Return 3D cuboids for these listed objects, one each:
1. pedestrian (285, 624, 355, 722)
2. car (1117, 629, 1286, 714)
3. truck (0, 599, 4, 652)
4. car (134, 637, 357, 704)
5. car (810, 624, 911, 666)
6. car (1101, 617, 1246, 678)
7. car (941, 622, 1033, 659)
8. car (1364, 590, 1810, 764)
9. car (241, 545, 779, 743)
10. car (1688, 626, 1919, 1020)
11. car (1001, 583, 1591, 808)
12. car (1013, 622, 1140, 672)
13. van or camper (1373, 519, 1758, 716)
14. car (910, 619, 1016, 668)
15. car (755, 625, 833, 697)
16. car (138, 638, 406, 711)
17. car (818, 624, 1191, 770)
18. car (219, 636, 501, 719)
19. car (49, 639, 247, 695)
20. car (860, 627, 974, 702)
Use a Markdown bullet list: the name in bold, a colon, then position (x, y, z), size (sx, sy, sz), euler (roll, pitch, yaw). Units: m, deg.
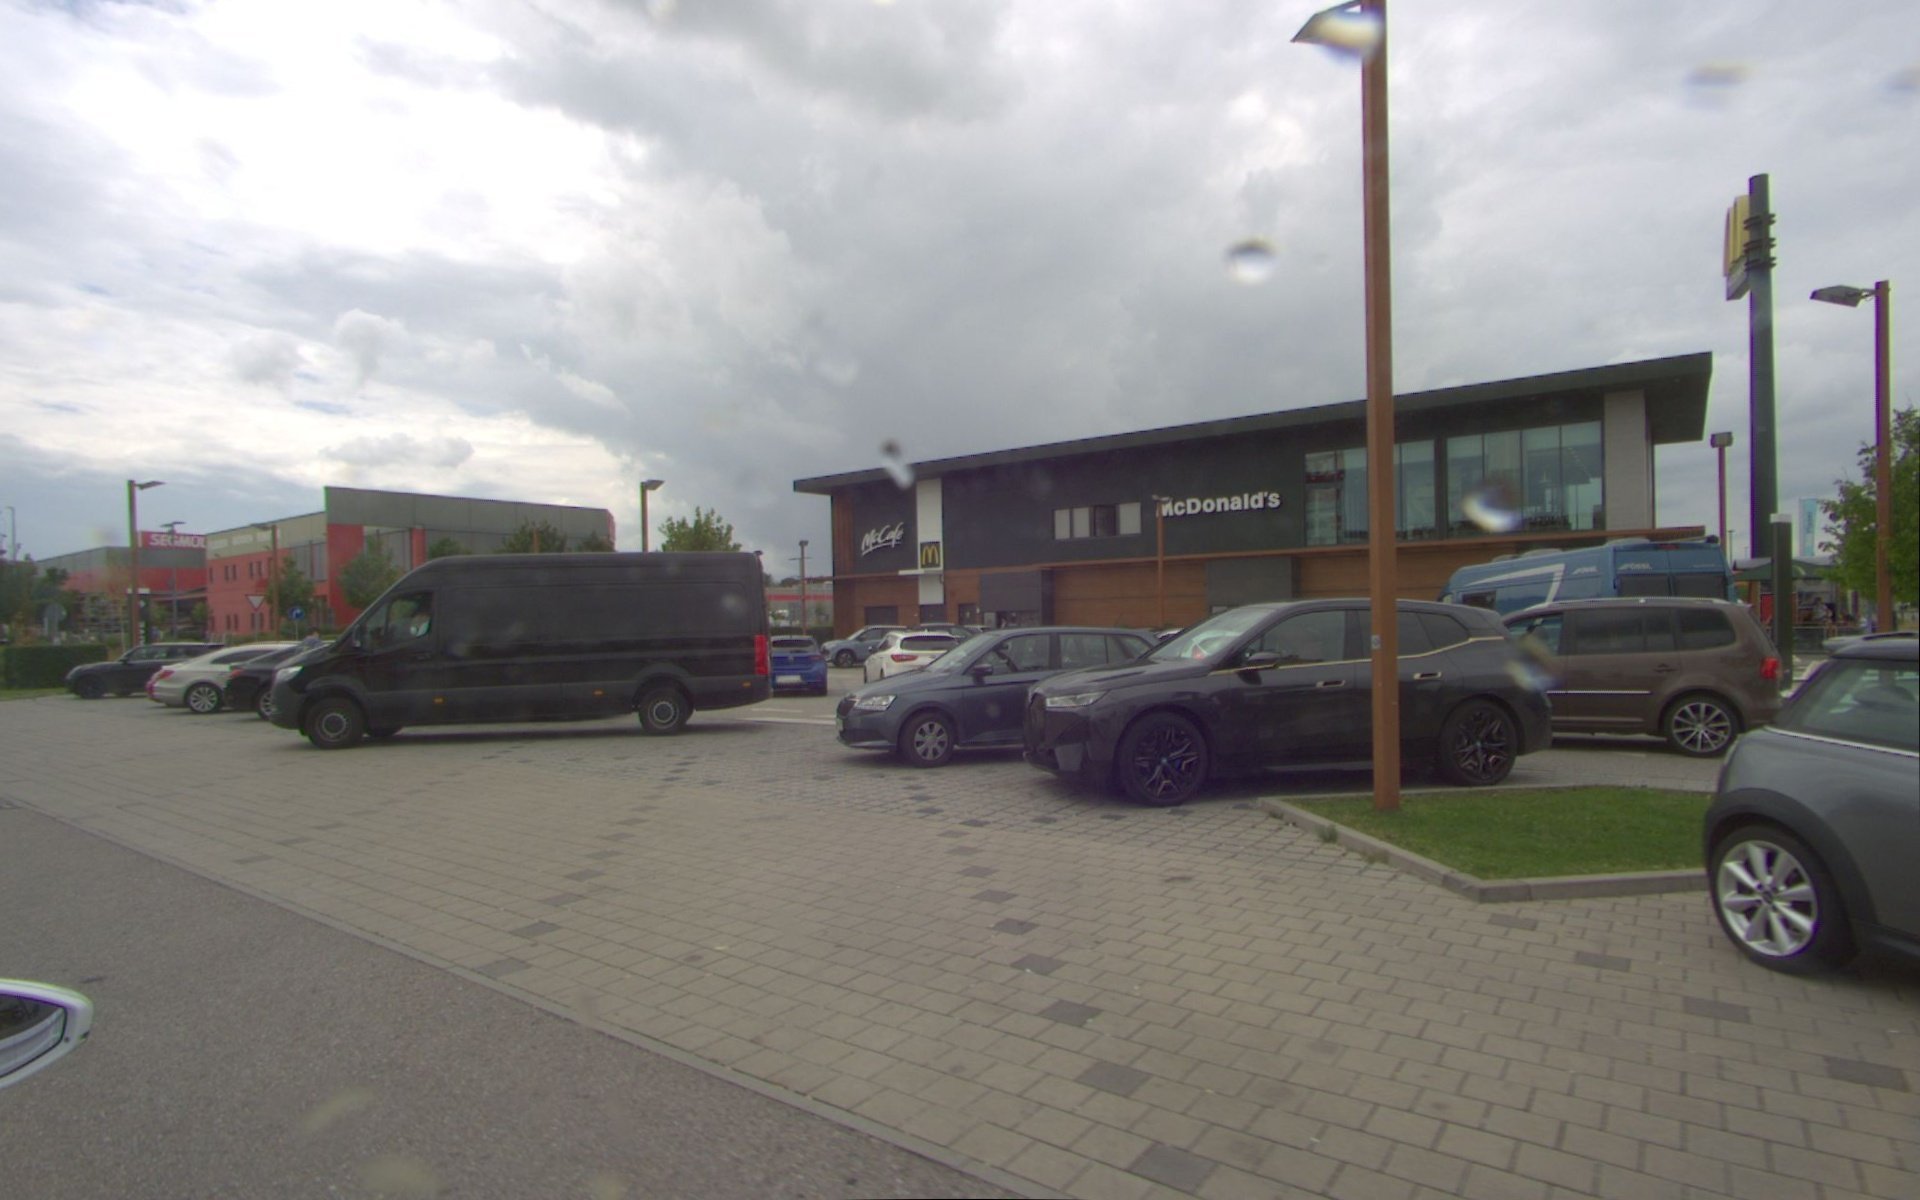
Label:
- **pedestrian**: position (-11.440, 1.296, 17.924), size (0.827, 1.698, 0.749), euler (-1, -2, -11)
- **car**: position (4.512, 1.299, 19.277), size (1.808, 1.472, 3.572), euler (0, -2, -12)
- **truck**: position (-72.812, 1.807, 73.467), size (8.150, 3.793, 2.638), euler (0, 1, 38)
- **car**: position (-16.767, 1.632, 23.704), size (3.927, 1.483, 1.686), euler (0, -2, -14)
- **car**: position (-4.046, 1.791, 40.577), size (3.837, 1.605, 1.746), euler (0, 0, -18)
- **car**: position (6.911, 1.492, 32.537), size (4.180, 1.684, 1.896), euler (-2, 1, -14)
- **car**: position (1.234, 1.828, 46.008), size (3.946, 1.526, 1.777), euler (0, 0, 36)
- **car**: position (7.086, 0.759, 11.739), size (4.130, 1.712, 1.801), euler (0, 0, 32)
- **car**: position (-6.206, 0.618, 14.788), size (6.883, 2.586, 2.072), euler (0, -1, -13)
- **car**: position (4.301, 0.817, 2.937), size (1.578, 1.394, 3.526), euler (0, 0, -5)
- **car**: position (2.951, 0.790, 9.260), size (4.805, 1.749, 1.999), euler (0, -2, -11)
- **car**: position (3.982, 1.589, 34.600), size (4.015, 1.594, 1.837), euler (-1, 0, -9)
- **van or camper**: position (9.825, 0.382, 17.261), size (2.131, 2.734, 6.576), euler (0, -2, -6)
- **car**: position (0.074, 1.659, 38.699), size (3.923, 1.773, 1.999), euler (0, 0, -5)
- **car**: position (-4.070, 1.428, 24.717), size (1.736, 1.530, 3.997), euler (0, 0, -9)
- **car**: position (-14.567, 1.549, 21.460), size (4.378, 1.430, 1.752), euler (0, -2, -13)
- **car**: position (0.462, 1.034, 11.600), size (3.929, 1.429, 1.830), euler (0, -2, -17)
- **car**: position (-11.356, 1.436, 19.256), size (4.325, 1.482, 1.686), euler (0, -2, -11)
- **car**: position (-22.235, 1.803, 27.585), size (3.860, 1.430, 1.685), euler (0, -2, -15)
- **car**: position (-1.055, 1.369, 22.169), size (1.748, 1.485, 4.108), euler (2, -2, -13)
